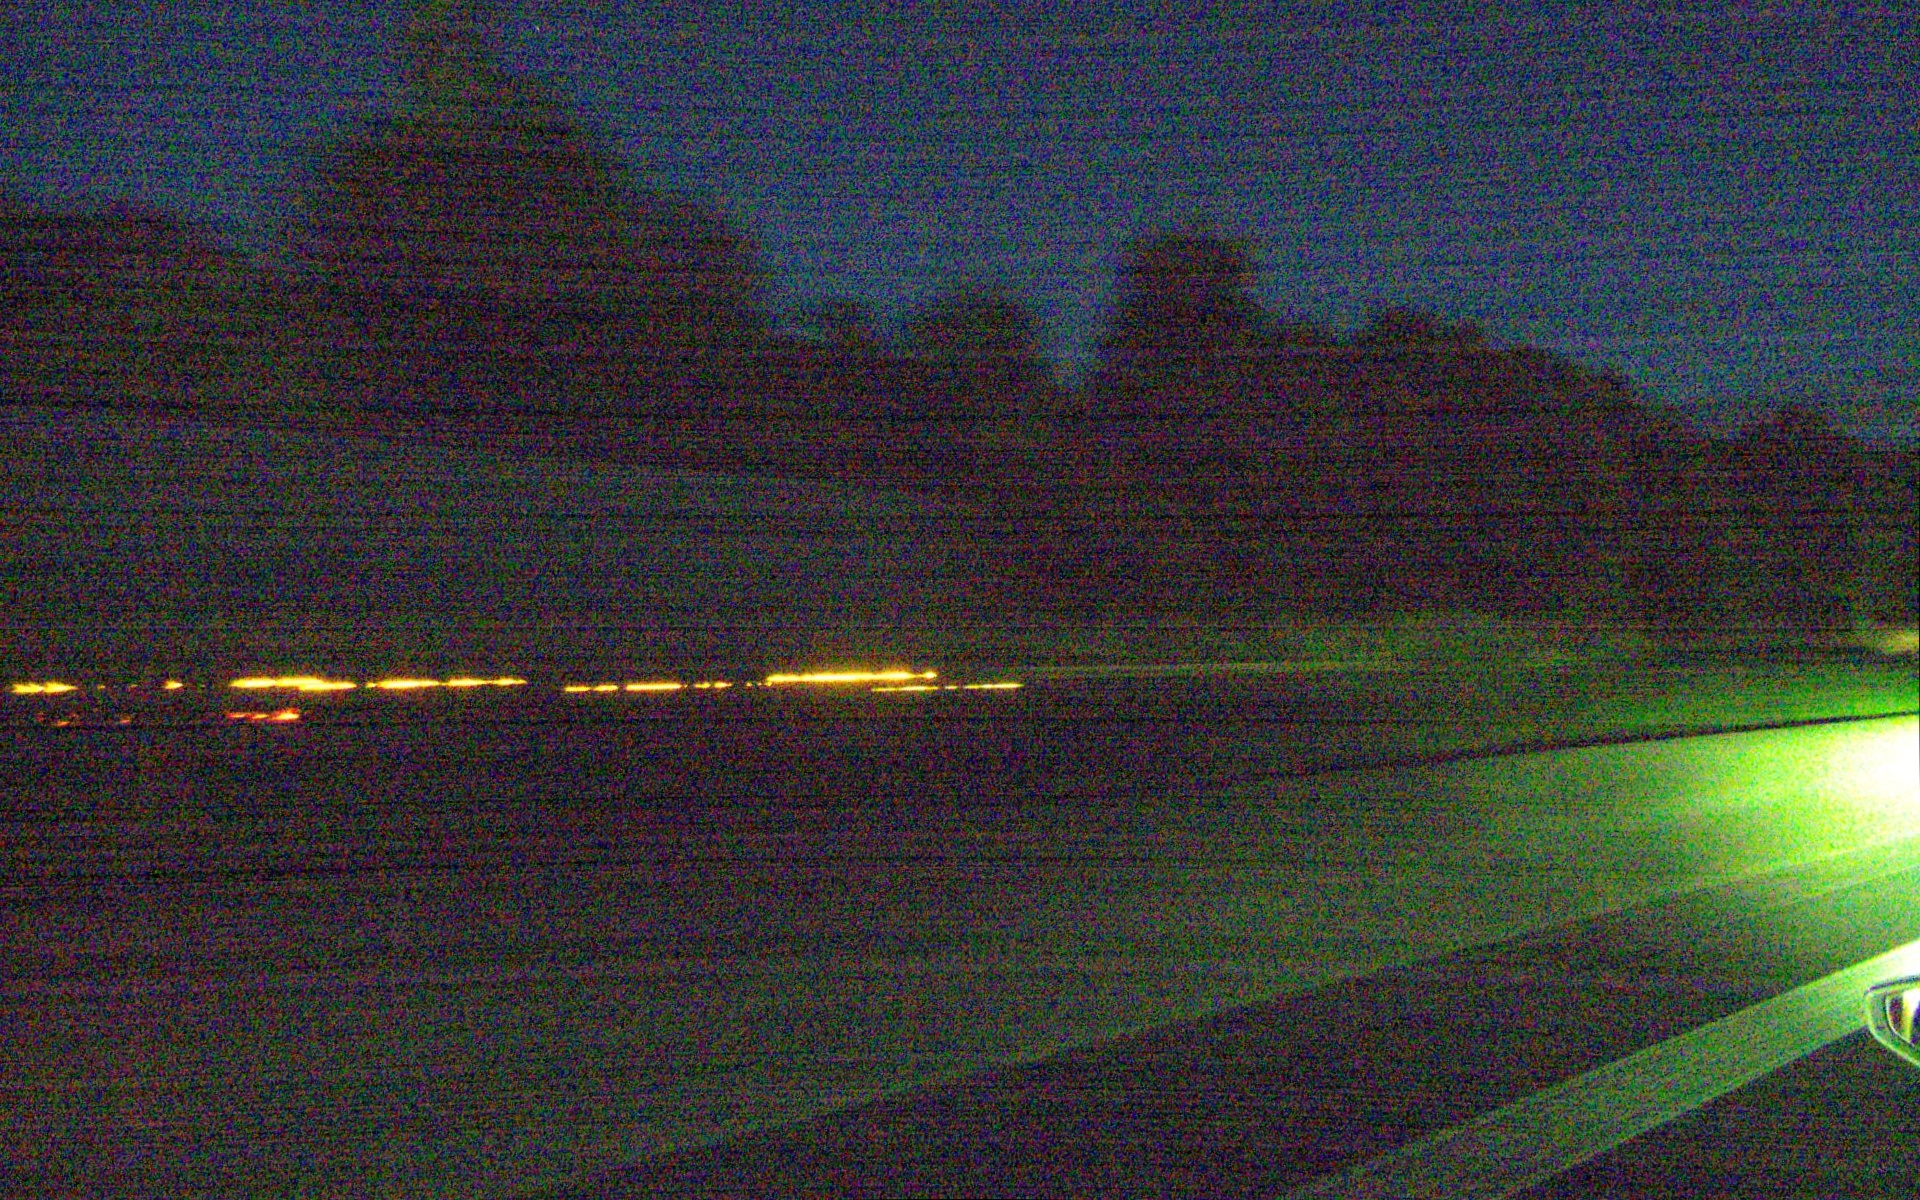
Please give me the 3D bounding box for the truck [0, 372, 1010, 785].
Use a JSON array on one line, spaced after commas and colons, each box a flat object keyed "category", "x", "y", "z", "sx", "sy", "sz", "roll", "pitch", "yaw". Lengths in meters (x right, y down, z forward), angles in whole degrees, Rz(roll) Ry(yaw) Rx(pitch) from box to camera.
[{"category": "truck", "x": -7.132, "y": -0.107, "z": 13.876, "sx": 16.785, "sy": 4.258, "sz": 3.098, "roll": 1, "pitch": -3, "yaw": -31}]
